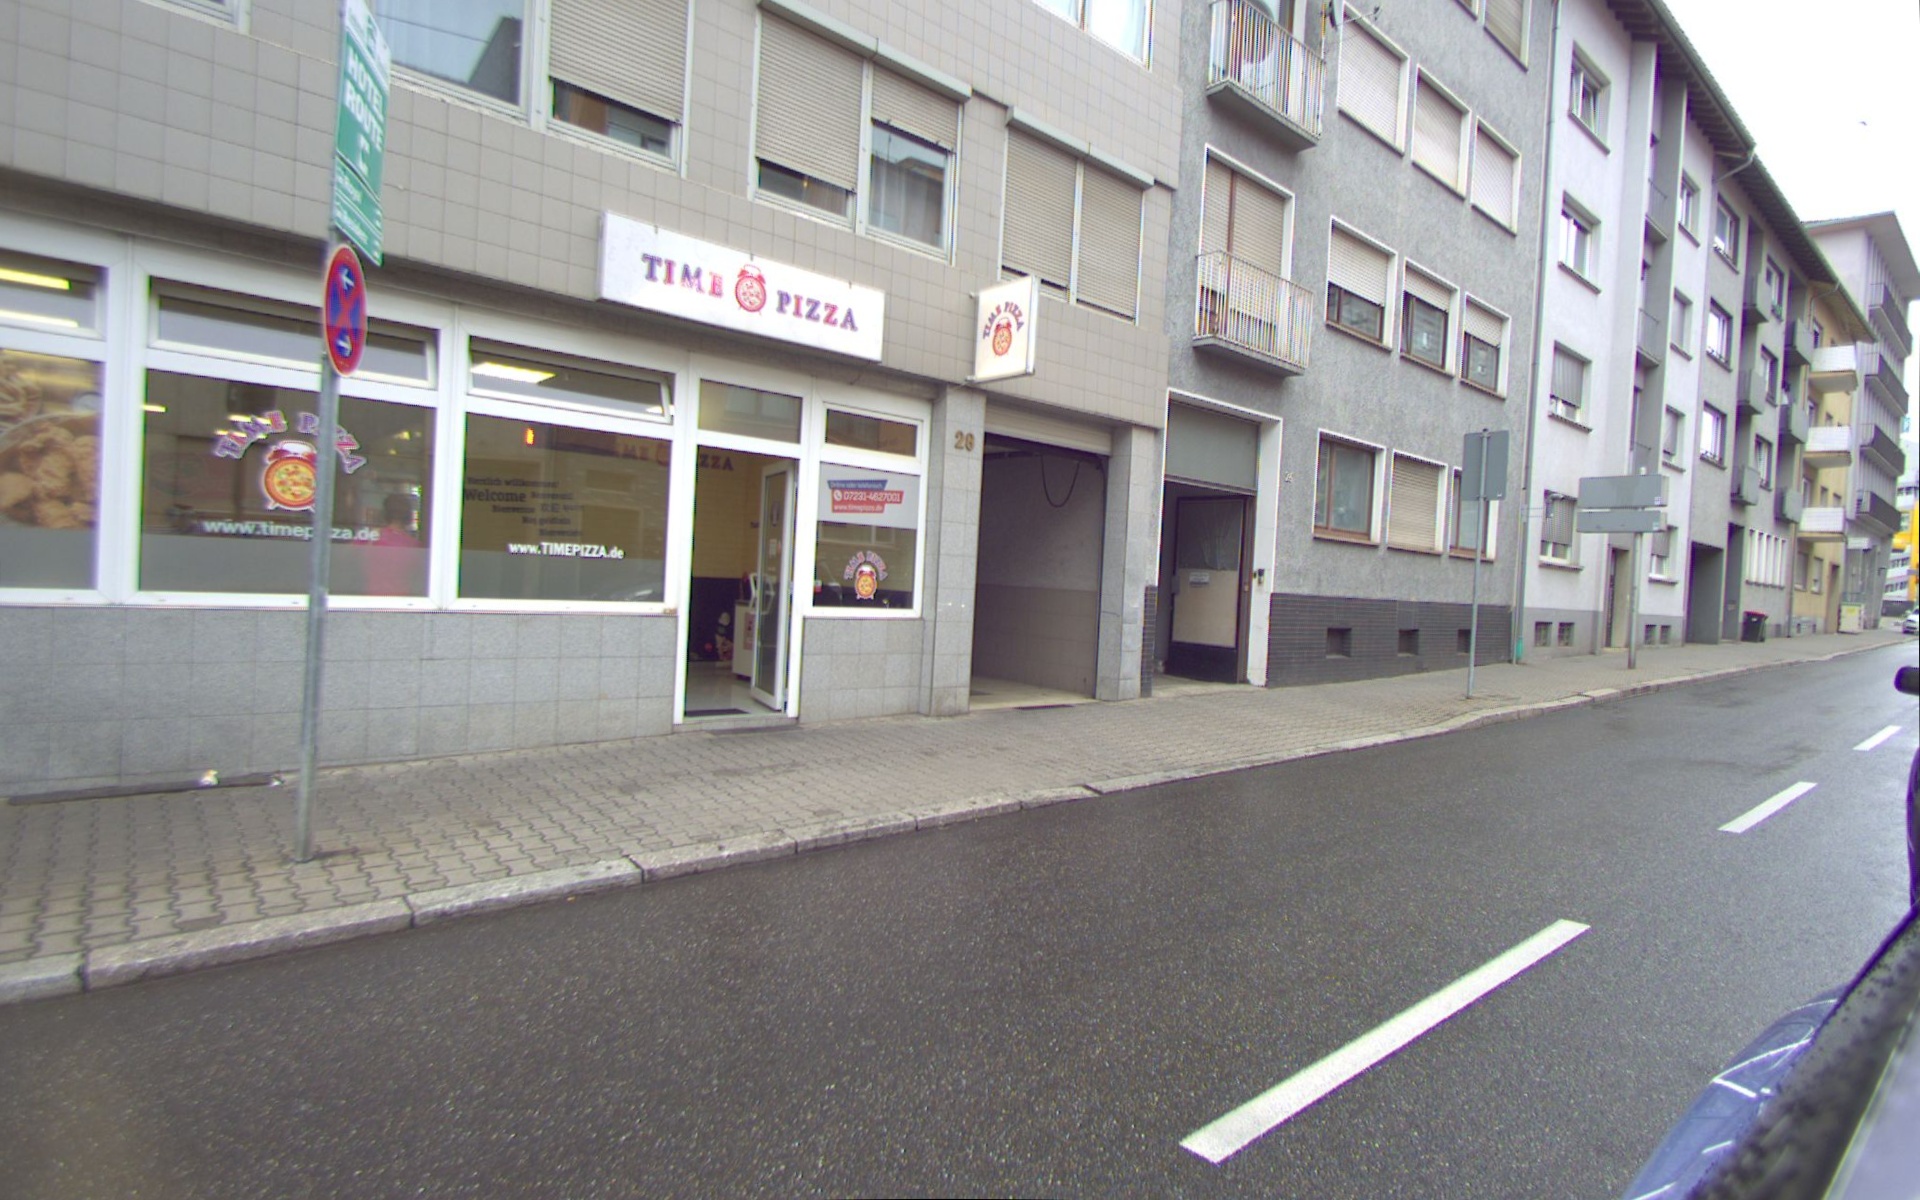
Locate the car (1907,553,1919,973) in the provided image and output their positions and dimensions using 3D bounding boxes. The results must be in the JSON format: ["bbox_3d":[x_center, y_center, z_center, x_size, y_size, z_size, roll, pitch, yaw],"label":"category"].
[{"bbox_3d":[6.067,0.658,4.933,4.144,1.743,1.697,-1,0,-41],"label":"car"}]
